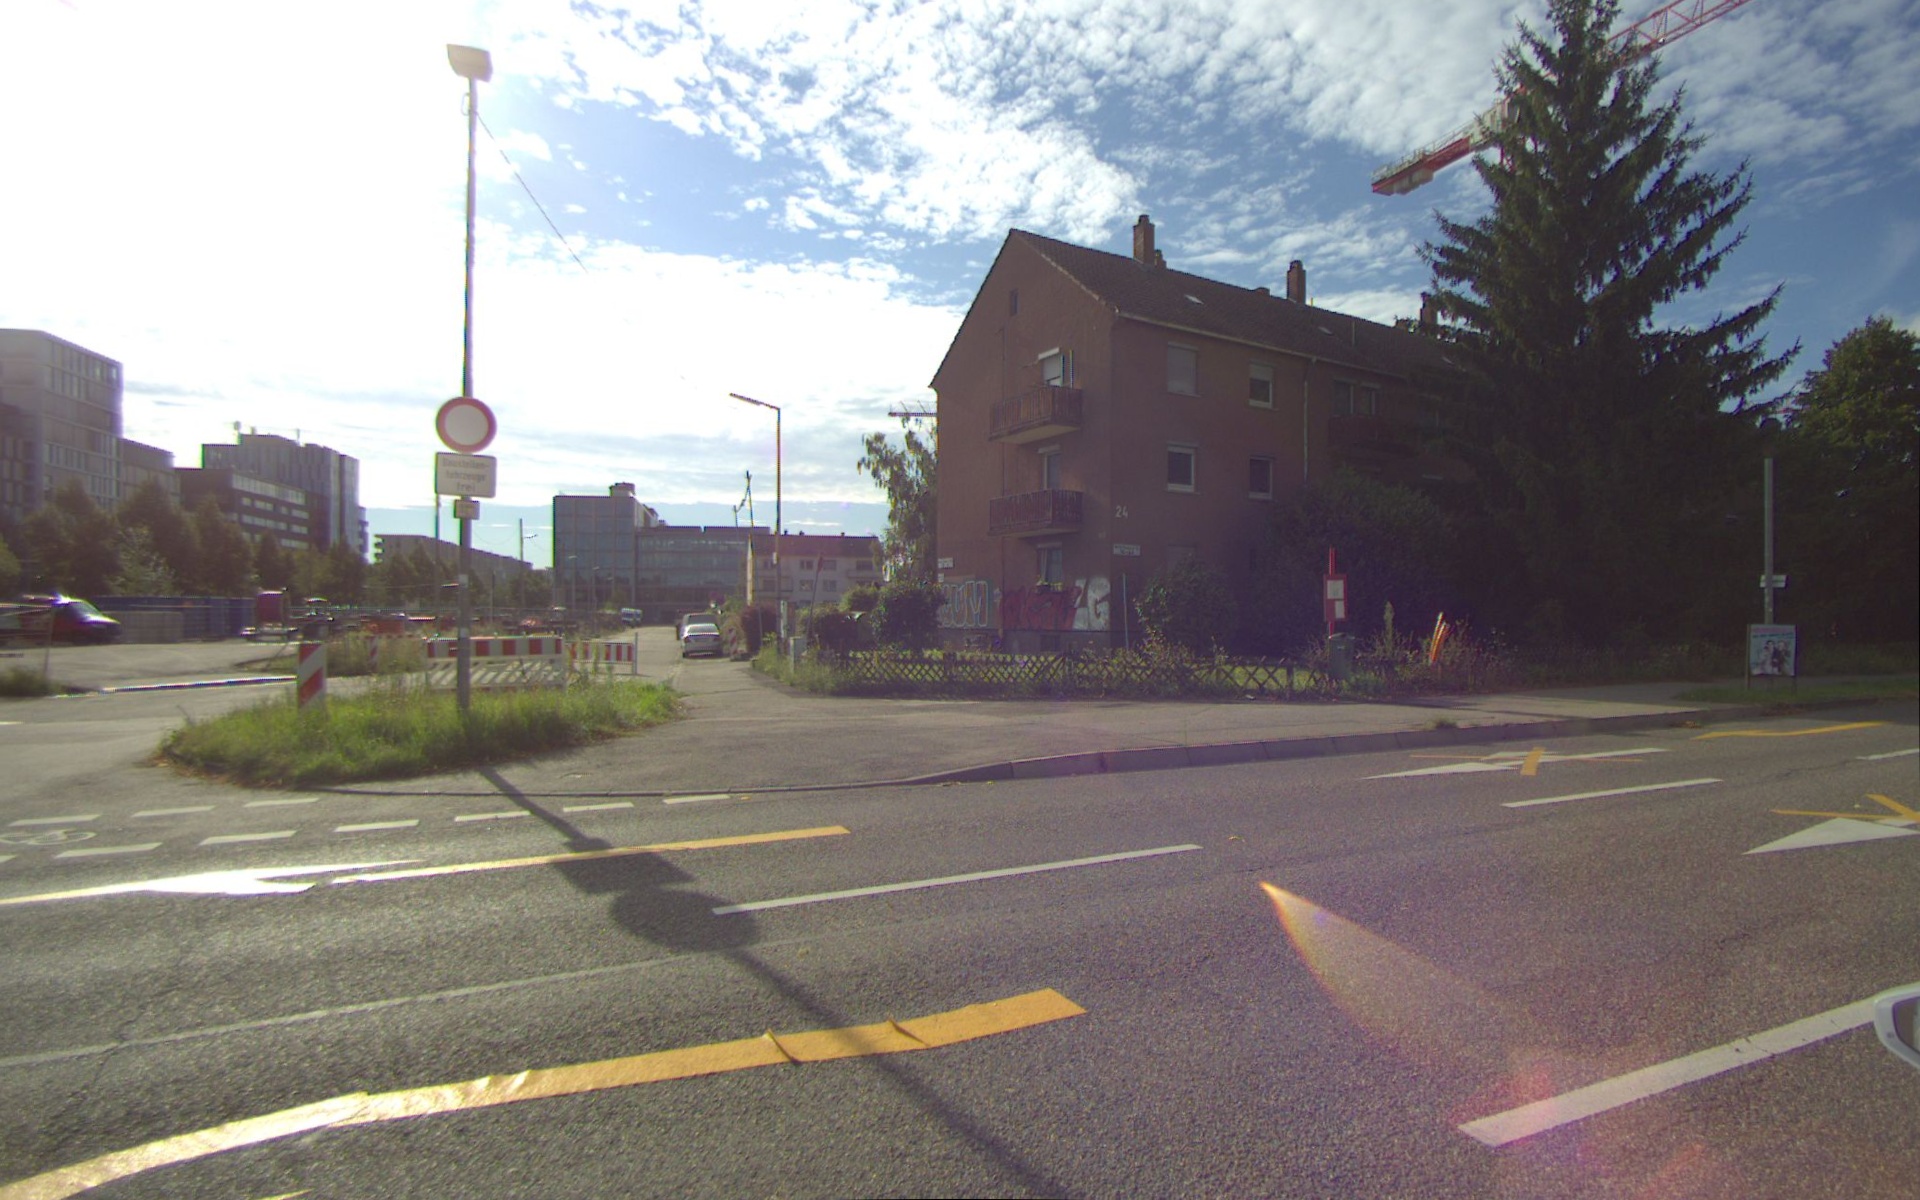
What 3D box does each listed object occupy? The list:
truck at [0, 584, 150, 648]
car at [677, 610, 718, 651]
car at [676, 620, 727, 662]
[{"bbox_3d":[-44.293,0.709,47.942,7.976,2.892,3.353,1,0,-15],"label":"truck"},{"bbox_3d":[-14.812,1.680,56.540,1.969,1.977,3.982,-1,3,-19],"label":"car"},{"bbox_3d":[-11.802,1.823,45.750,1.969,1.576,3.982,-1,2,-19],"label":"car"}]
